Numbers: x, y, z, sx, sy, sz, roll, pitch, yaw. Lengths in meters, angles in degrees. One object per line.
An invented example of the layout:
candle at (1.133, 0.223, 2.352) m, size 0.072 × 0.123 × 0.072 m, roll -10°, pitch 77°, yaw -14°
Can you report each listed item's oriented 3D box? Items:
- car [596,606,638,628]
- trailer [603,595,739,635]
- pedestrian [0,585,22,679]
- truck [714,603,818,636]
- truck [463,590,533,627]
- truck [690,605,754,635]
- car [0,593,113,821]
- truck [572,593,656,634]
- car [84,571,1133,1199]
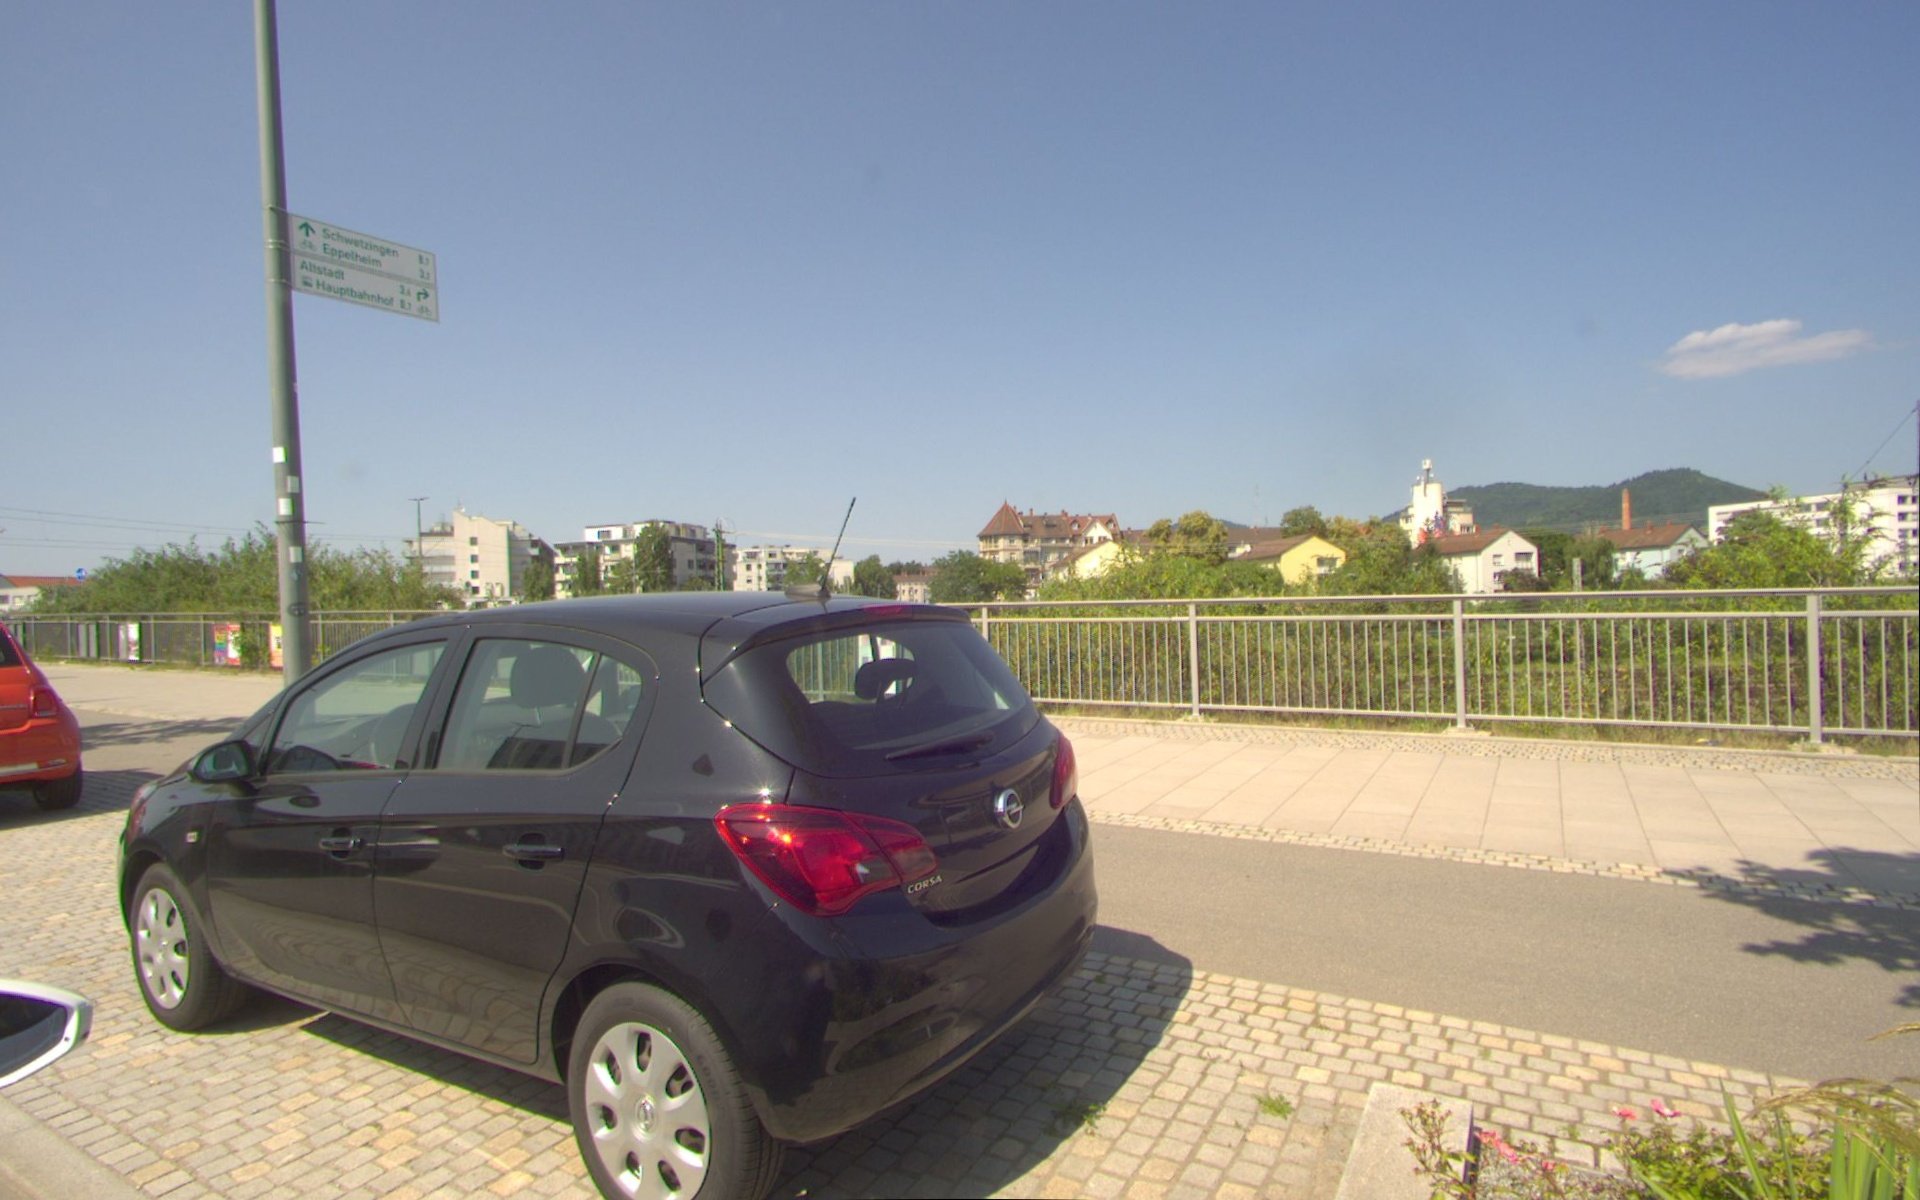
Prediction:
car at (-34.206, 1.709, 99.976) m, size 1.964 × 2.039 × 3.997 m, roll -1°, pitch -2°, yaw 17°
trailer at (-26.770, 1.569, 94.557) m, size 3.674 × 3.243 × 17.244 m, roll -1°, pitch -3°, yaw 17°
pedestrian at (-19.510, 0.648, 20.116) m, size 0.872 × 1.853 × 0.757 m, roll -1°, pitch -2°, yaw 32°
truck at (-21.479, 2.349, 112.967) m, size 3.674 × 3.243 × 17.876 m, roll -1°, pitch -3°, yaw 17°
truck at (-38.596, 0.777, 83.900) m, size 2.079 × 2.919 × 5.870 m, roll -1°, pitch -2°, yaw 15°
truck at (-26.843, 2.377, 113.477) m, size 2.459 × 3.197 × 9.899 m, roll -1°, pitch -2°, yaw 16°
car at (-8.380, 0.741, 7.773) m, size 3.860 × 1.561 × 1.665 m, roll 1°, pitch 2°, yaw 33°
truck at (-29.476, 1.199, 85.650) m, size 3.672 × 3.243 × 6.485 m, roll -1°, pitch -2°, yaw 17°
car at (-1.342, 0.740, 3.504) m, size 3.495 × 1.577 × 1.577 m, roll -1°, pitch 2°, yaw 32°
